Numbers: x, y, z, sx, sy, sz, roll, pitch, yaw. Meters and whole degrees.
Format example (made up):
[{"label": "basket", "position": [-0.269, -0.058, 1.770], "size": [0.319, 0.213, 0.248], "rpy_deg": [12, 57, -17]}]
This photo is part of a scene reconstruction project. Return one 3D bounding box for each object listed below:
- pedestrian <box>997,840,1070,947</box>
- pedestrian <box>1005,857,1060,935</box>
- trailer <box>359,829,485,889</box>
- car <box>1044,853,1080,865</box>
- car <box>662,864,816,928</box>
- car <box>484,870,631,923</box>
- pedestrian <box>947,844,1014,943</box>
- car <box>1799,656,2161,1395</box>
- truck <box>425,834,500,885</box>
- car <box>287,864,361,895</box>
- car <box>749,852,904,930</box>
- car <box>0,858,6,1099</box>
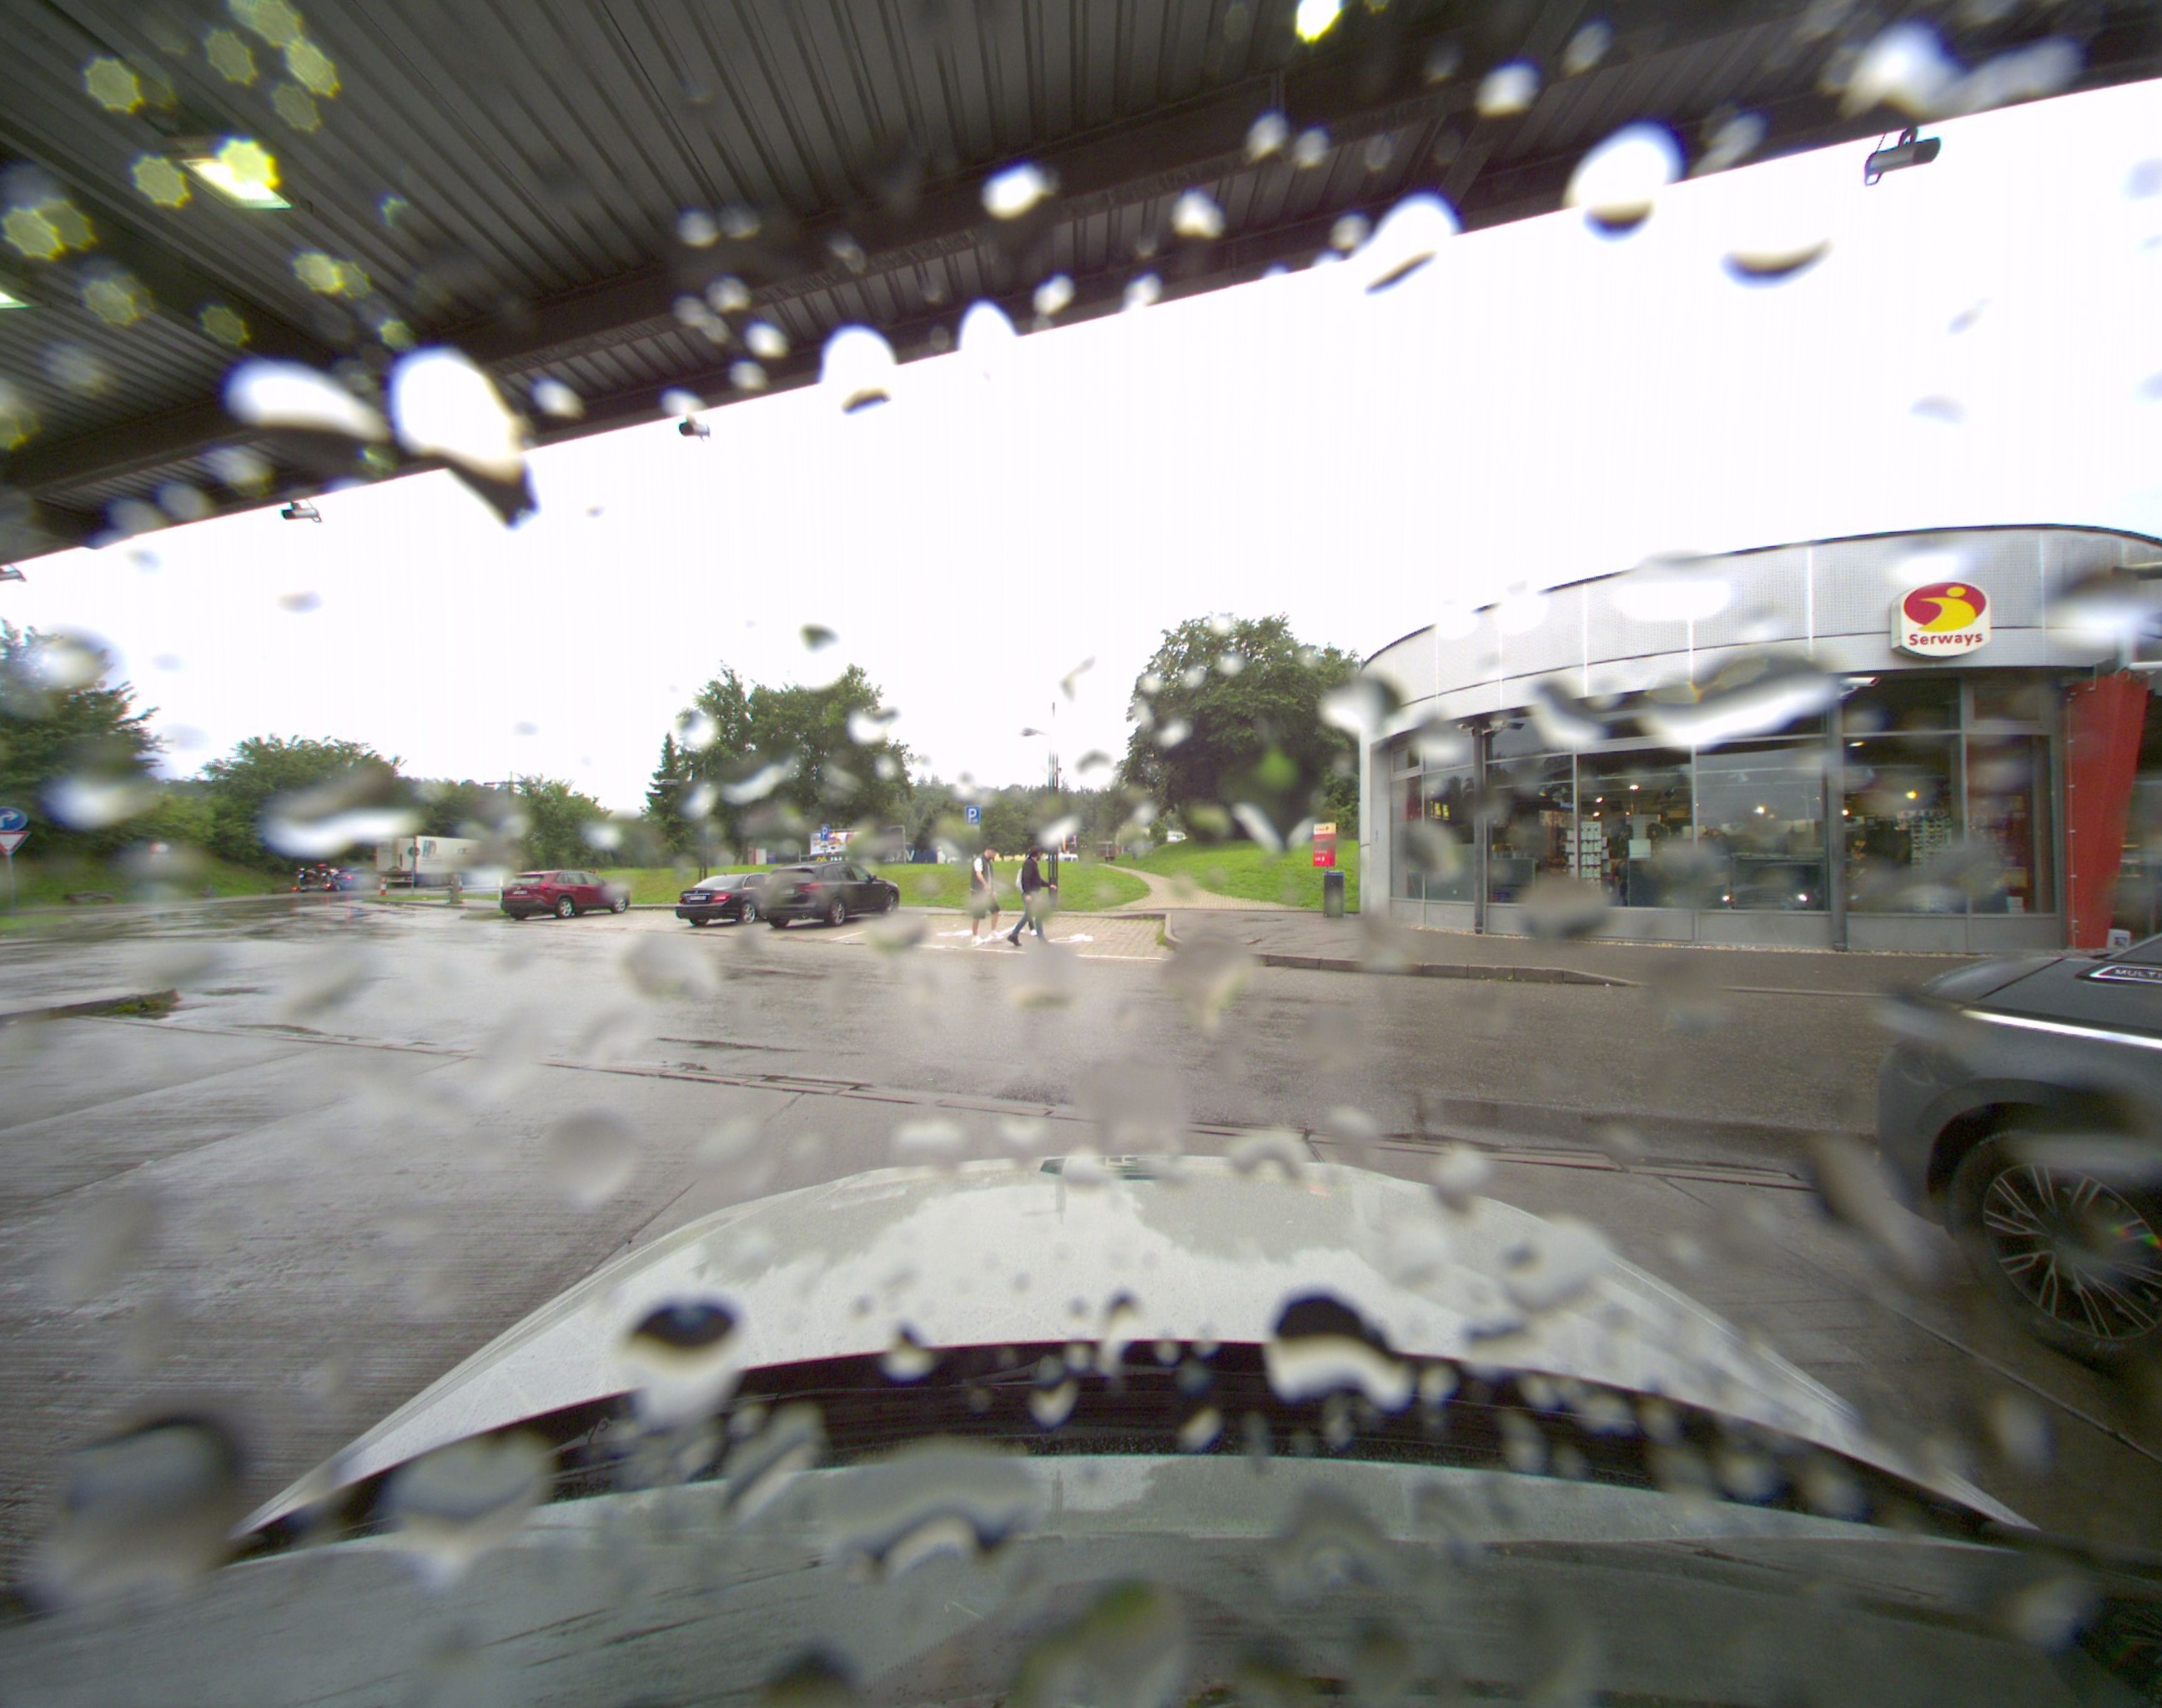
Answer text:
[{"label": "pedestrian", "position": [-0.863, 0.697, 14.814], "size": [0.989, 1.864, 0.804], "rpy_deg": [-2, 0, 30]}, {"label": "pedestrian", "position": [-1.006, 0.858, 16.938], "size": [0.880, 1.550, 0.665], "rpy_deg": [-2, 0, 31]}, {"label": "trailer", "position": [-54.884, 0.431, 68.486], "size": [3.466, 4.557, 13.827], "rpy_deg": [0, -1, -18]}, {"label": "car", "position": [-3.091, 0.803, 134.048], "size": [5.376, 2.013, 2.468], "rpy_deg": [-1, 0, 21]}, {"label": "car", "position": [-9.617, 1.140, 23.301], "size": [1.871, 1.565, 4.200], "rpy_deg": [-2, 0, 13]}, {"label": "car", "position": [-18.158, 1.419, 28.526], "size": [1.873, 1.596, 4.364], "rpy_deg": [-2, 0, 8]}, {"label": "pedestrian", "position": [-1.942, 0.752, 15.785], "size": [0.963, 1.848, 0.778], "rpy_deg": [-2, 0, 30]}, {"label": "car", "position": [3.715, 0.445, 1.233], "size": [1.809, 1.948, 4.002], "rpy_deg": [-1, 0, 2]}, {"label": "truck", "position": [-57.106, 0.505, 75.426], "size": [3.467, 4.557, 6.694], "rpy_deg": [0, -1, -18]}, {"label": "car", "position": [-49.204, 1.617, 53.048], "size": [1.934, 1.838, 4.361], "rpy_deg": [-1, 0, -20]}, {"label": "car", "position": [-6.616, 0.890, 21.744], "size": [1.871, 1.828, 4.429], "rpy_deg": [-2, 0, 13]}, {"label": "car", "position": [-7.820, 0.807, 2.759], "size": [1.809, 1.565, 5.000], "rpy_deg": [0, 0, -2]}]
